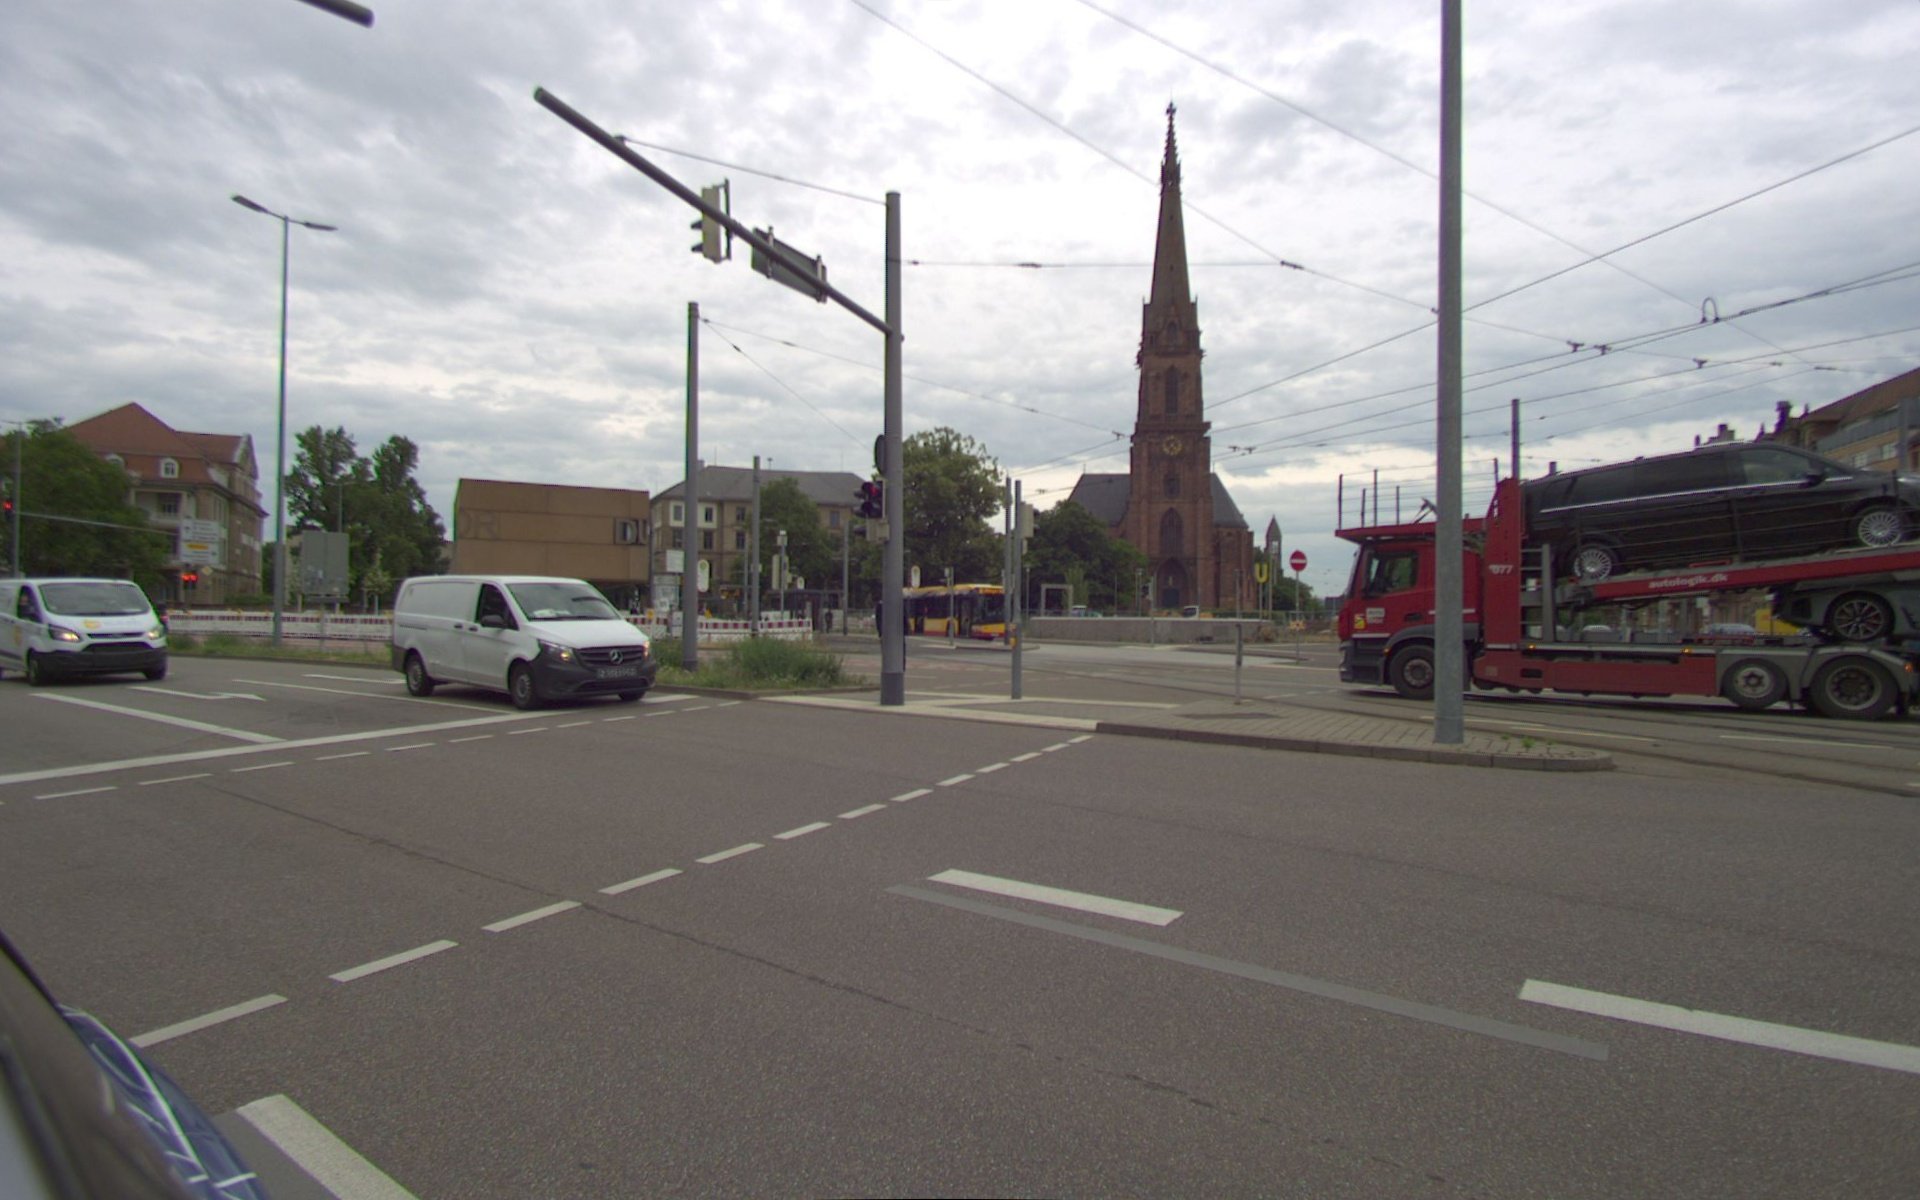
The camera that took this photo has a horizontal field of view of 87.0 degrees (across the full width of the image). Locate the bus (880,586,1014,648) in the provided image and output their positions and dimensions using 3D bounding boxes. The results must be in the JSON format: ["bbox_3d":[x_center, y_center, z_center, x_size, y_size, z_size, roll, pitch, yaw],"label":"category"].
[{"bbox_3d":[-1.049,0.885,56.967,2.815,3.100,12.060,0,0,-25],"label":"bus"}]

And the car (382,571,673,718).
[{"bbox_3d":[-6.693,0.573,15.367,5.083,1.896,1.899,0,0,39],"label":"car"}]

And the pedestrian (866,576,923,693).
[{"bbox_3d":[-1.145,0.593,17.562,0.768,1.958,0.984,1,-1,-17],"label":"pedestrian"}]

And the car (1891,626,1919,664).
[{"bbox_3d":[34.309,1.576,34.597,1.981,1.320,3.980,0,-1,15],"label":"car"}]

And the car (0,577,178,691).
[{"bbox_3d":[-17.128,0.622,19.448,4.511,1.956,1.977,0,-2,34],"label":"car"}]

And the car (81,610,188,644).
[{"bbox_3d":[-35.042,1.132,42.961,3.976,1.409,1.983,0,-1,25],"label":"car"}]

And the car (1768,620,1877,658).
[{"bbox_3d":[36.900,1.637,43.430,1.981,1.541,3.981,0,-1,14],"label":"car"}]

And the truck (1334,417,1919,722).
[{"bbox_3d":[11.520,-0.384,15.565,10.429,3.950,2.980,0,0,34],"label":"truck"}]

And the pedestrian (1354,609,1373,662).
[{"bbox_3d":[12.673,1.112,31.796,0.479,1.623,0.421,-1,-2,33],"label":"pedestrian"}]

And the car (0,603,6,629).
[{"bbox_3d":[-66.340,1.084,67.242,1.992,1.741,3.959,0,0,30],"label":"car"}]
